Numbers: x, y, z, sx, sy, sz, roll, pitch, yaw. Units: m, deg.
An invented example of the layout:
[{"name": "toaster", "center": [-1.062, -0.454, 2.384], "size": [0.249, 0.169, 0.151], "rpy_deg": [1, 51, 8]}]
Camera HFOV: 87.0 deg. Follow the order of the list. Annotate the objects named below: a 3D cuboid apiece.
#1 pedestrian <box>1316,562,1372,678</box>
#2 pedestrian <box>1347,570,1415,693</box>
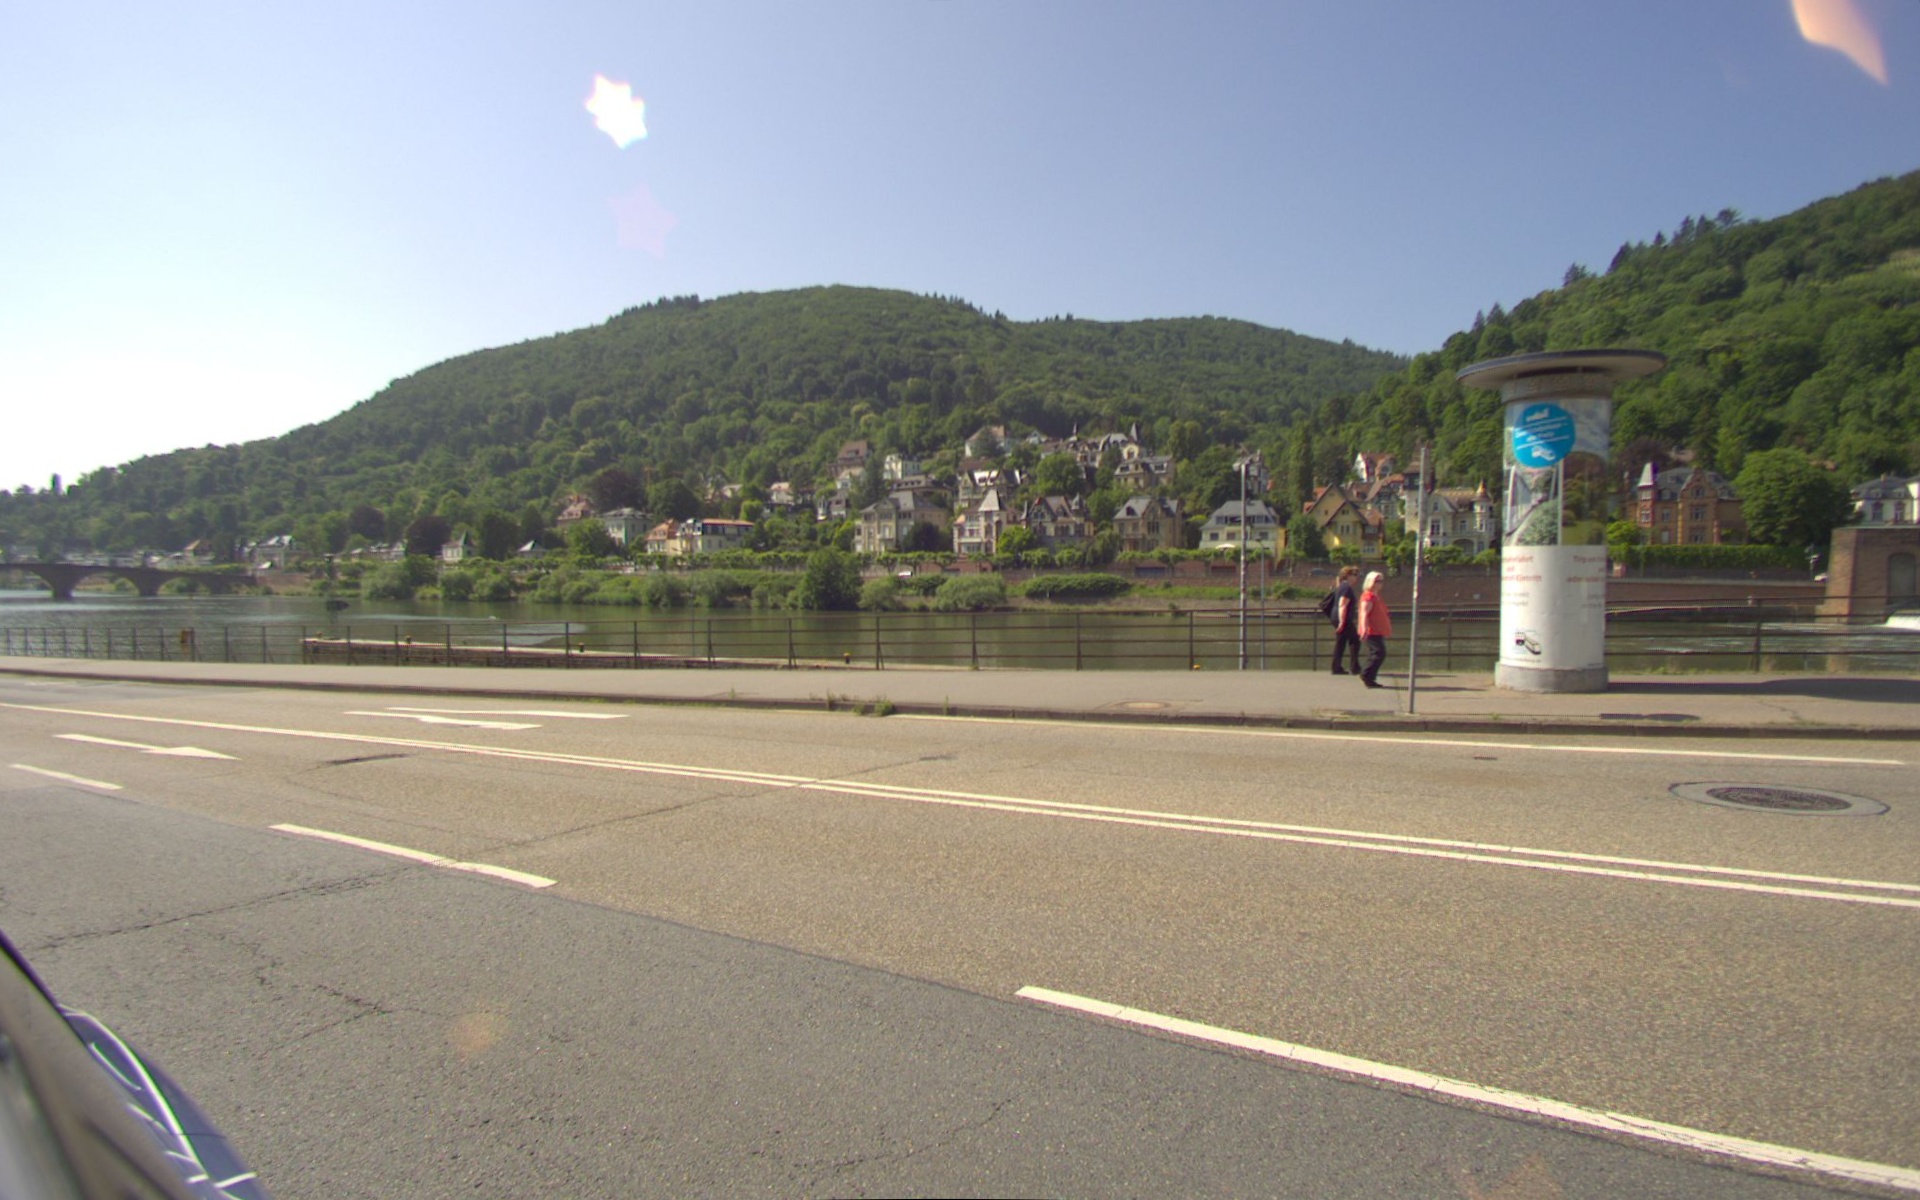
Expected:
[{"name": "pedestrian", "center": [5.870, 0.301, 15.469], "size": [0.768, 1.722, 0.680], "rpy_deg": [-1, 0, 22]}, {"name": "pedestrian", "center": [5.774, 0.415, 13.922], "size": [0.811, 1.633, 0.700], "rpy_deg": [-1, 0, 21]}]
